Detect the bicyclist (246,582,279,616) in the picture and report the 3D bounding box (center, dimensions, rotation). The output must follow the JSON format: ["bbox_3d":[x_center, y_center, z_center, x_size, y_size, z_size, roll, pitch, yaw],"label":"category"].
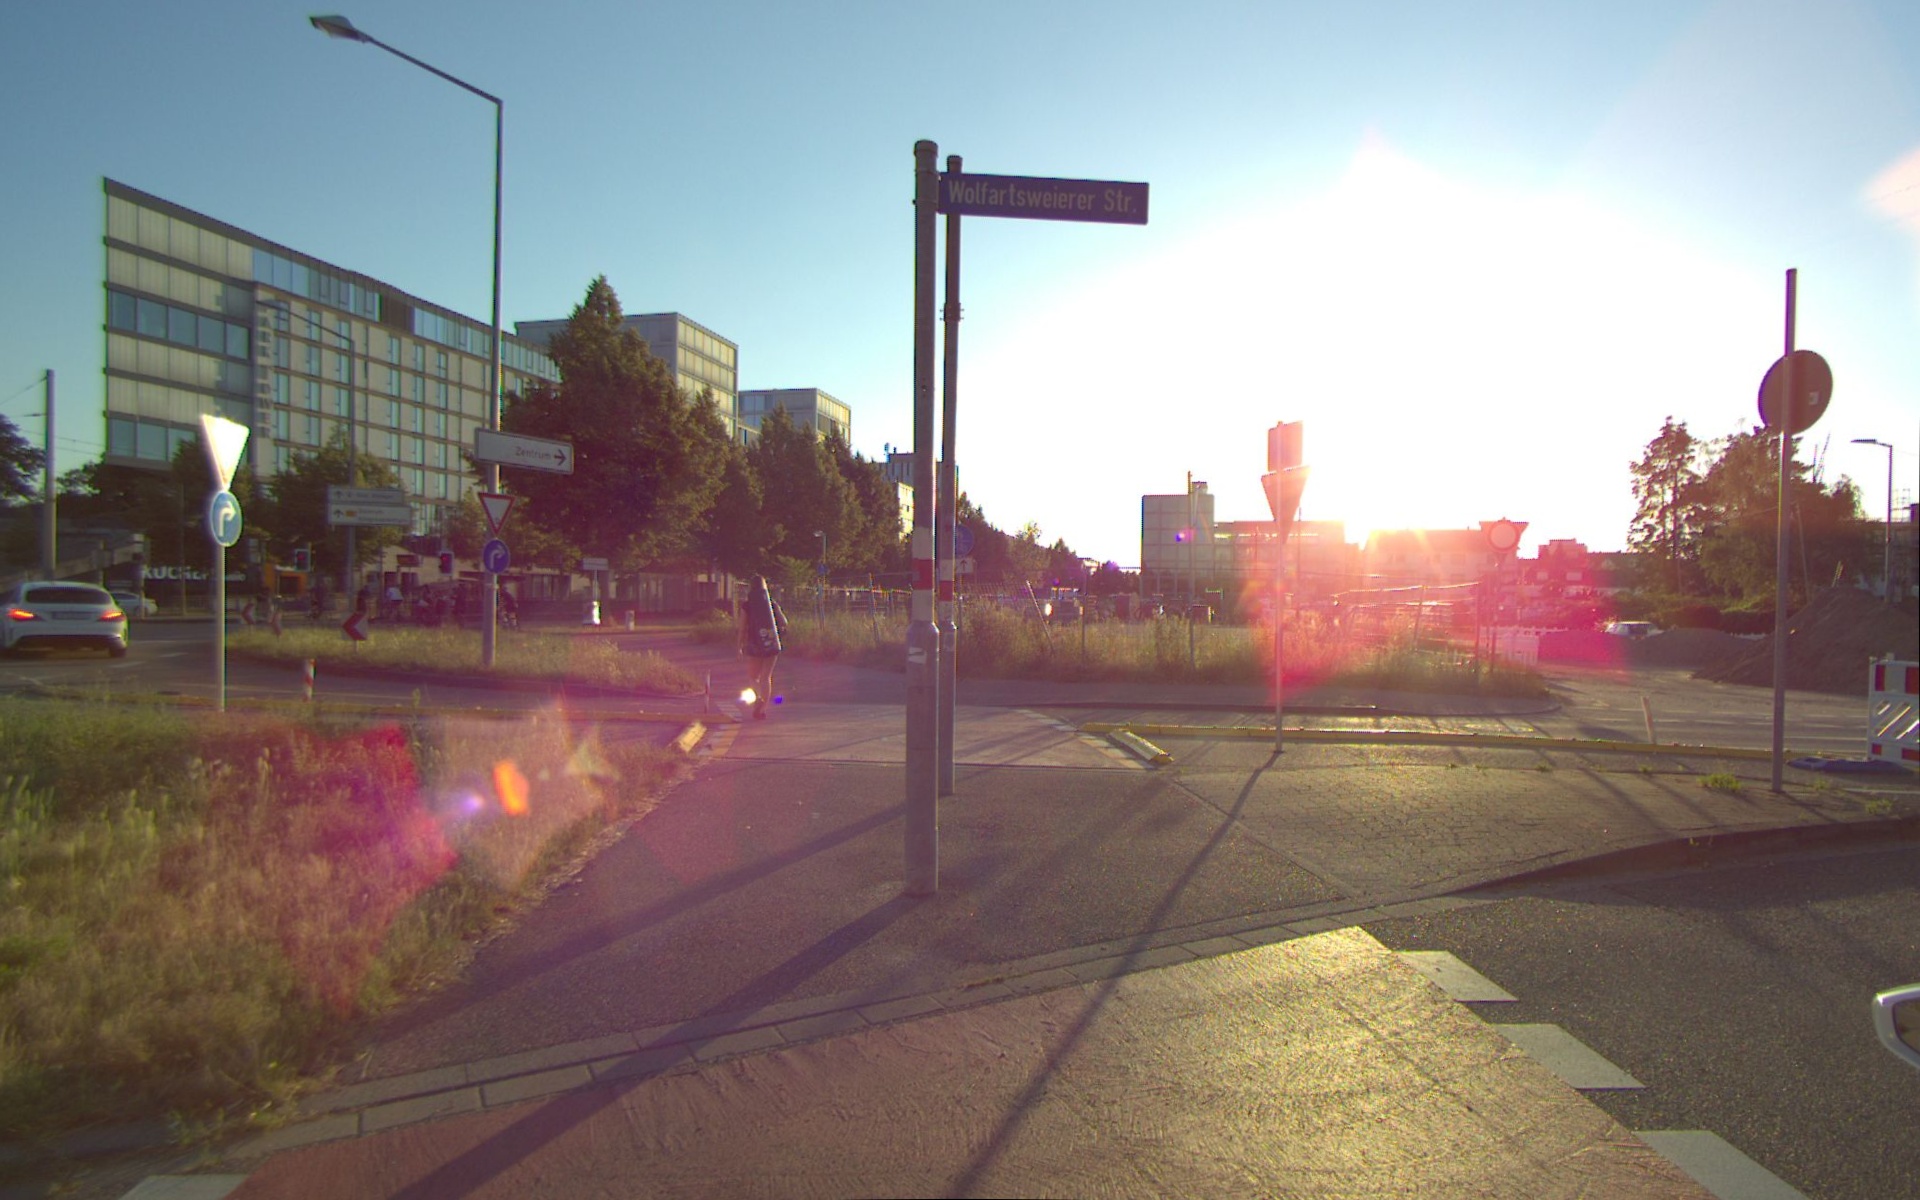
[{"bbox_3d":[-29.617,-0.054,42.649,0.861,1.411,0.755,1,0,5],"label":"bicyclist"}]

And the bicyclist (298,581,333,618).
[{"bbox_3d":[-27.170,-0.019,42.347,0.959,1.545,0.755,1,0,2],"label":"bicyclist"}]

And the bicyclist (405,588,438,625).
[{"bbox_3d":[-21.135,0.246,39.420,0.961,1.413,0.753,1,0,31],"label":"bicyclist"}]

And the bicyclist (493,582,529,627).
[{"bbox_3d":[-16.883,0.161,37.754,0.958,1.634,0.755,1,0,11],"label":"bicyclist"}]

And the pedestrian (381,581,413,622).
[{"bbox_3d":[-24.161,0.046,43.090,0.871,1.730,0.794,1,0,21],"label":"pedestrian"}]

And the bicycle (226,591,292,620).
[{"bbox_3d":[-29.731,0.245,42.633,2.361,1.182,0.755,1,0,6],"label":"bicycle"}]

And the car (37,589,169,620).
[{"bbox_3d":[-46.336,0.249,54.482,1.960,1.565,5.203,1,0,17],"label":"car"}]

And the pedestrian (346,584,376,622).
[{"bbox_3d":[-27.123,0.135,45.485,0.870,1.730,0.795,1,0,8],"label":"pedestrian"}]

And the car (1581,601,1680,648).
[{"bbox_3d":[26.970,0.952,40.555,1.959,1.728,4.002,1,0,12],"label":"car"}]

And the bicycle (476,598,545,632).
[{"bbox_3d":[-16.890,0.557,37.781,2.360,1.182,0.755,1,0,11],"label":"bicycle"}]

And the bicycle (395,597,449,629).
[{"bbox_3d":[-21.141,0.497,39.445,2.367,1.182,0.753,1,0,31],"label":"bicycle"}]

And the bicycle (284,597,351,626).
[{"bbox_3d":[-27.093,0.476,42.373,2.361,1.182,0.755,1,0,2],"label":"bicycle"}]

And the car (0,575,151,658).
[{"bbox_3d":[-17.809,0.288,20.063,4.593,1.472,2.062,1,-1,45],"label":"car"}]

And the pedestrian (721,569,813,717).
[{"bbox_3d":[-2.344,0.497,12.162,0.836,1.709,0.880,1,1,-31],"label":"pedestrian"}]

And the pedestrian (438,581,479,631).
[{"bbox_3d":[-19.013,0.222,38.096,1.143,1.851,0.976,1,0,37],"label":"pedestrian"}]
